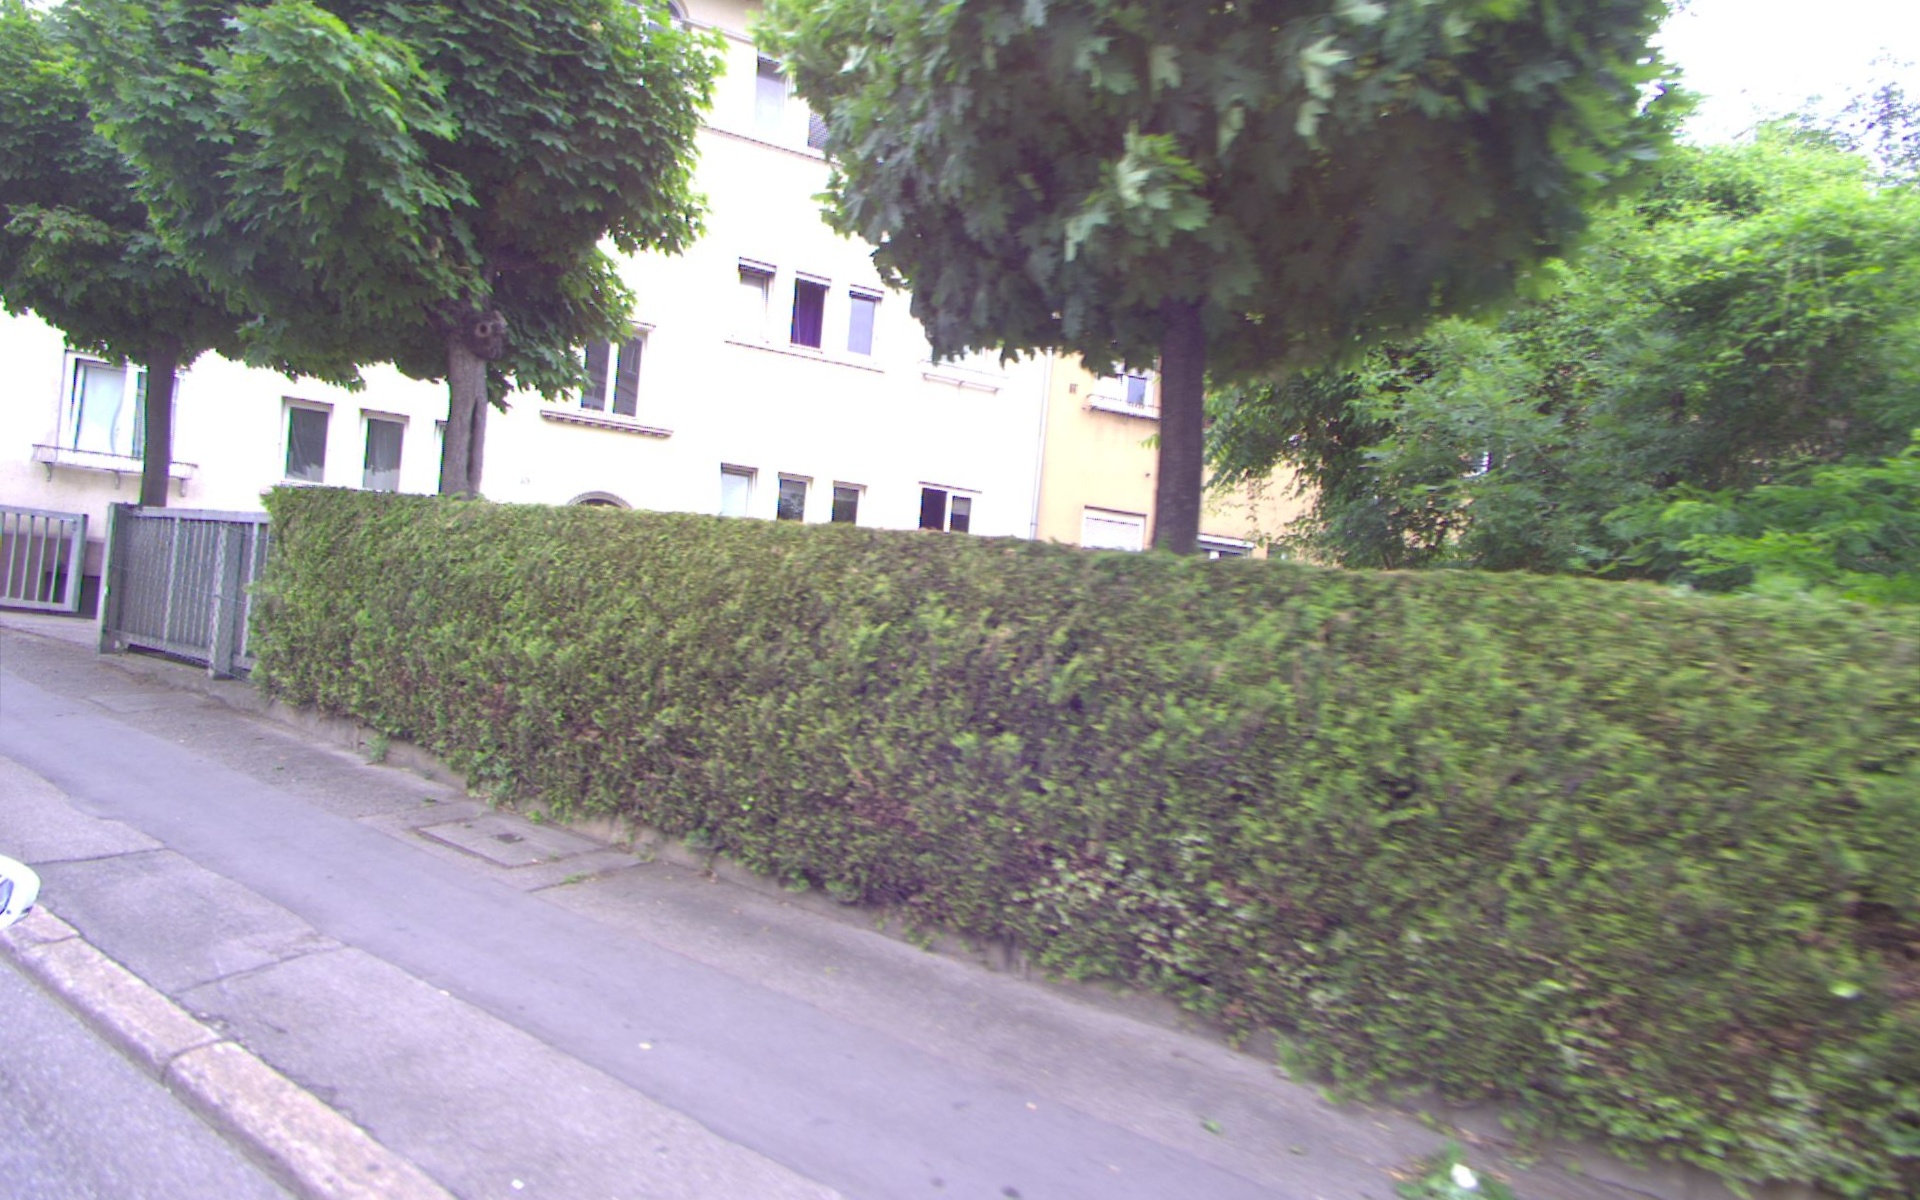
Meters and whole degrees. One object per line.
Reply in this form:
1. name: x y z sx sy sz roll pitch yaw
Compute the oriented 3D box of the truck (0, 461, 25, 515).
1. truck: -63.772 -7.643 63.402 2.838 3.378 8.773 8 -2 -14
